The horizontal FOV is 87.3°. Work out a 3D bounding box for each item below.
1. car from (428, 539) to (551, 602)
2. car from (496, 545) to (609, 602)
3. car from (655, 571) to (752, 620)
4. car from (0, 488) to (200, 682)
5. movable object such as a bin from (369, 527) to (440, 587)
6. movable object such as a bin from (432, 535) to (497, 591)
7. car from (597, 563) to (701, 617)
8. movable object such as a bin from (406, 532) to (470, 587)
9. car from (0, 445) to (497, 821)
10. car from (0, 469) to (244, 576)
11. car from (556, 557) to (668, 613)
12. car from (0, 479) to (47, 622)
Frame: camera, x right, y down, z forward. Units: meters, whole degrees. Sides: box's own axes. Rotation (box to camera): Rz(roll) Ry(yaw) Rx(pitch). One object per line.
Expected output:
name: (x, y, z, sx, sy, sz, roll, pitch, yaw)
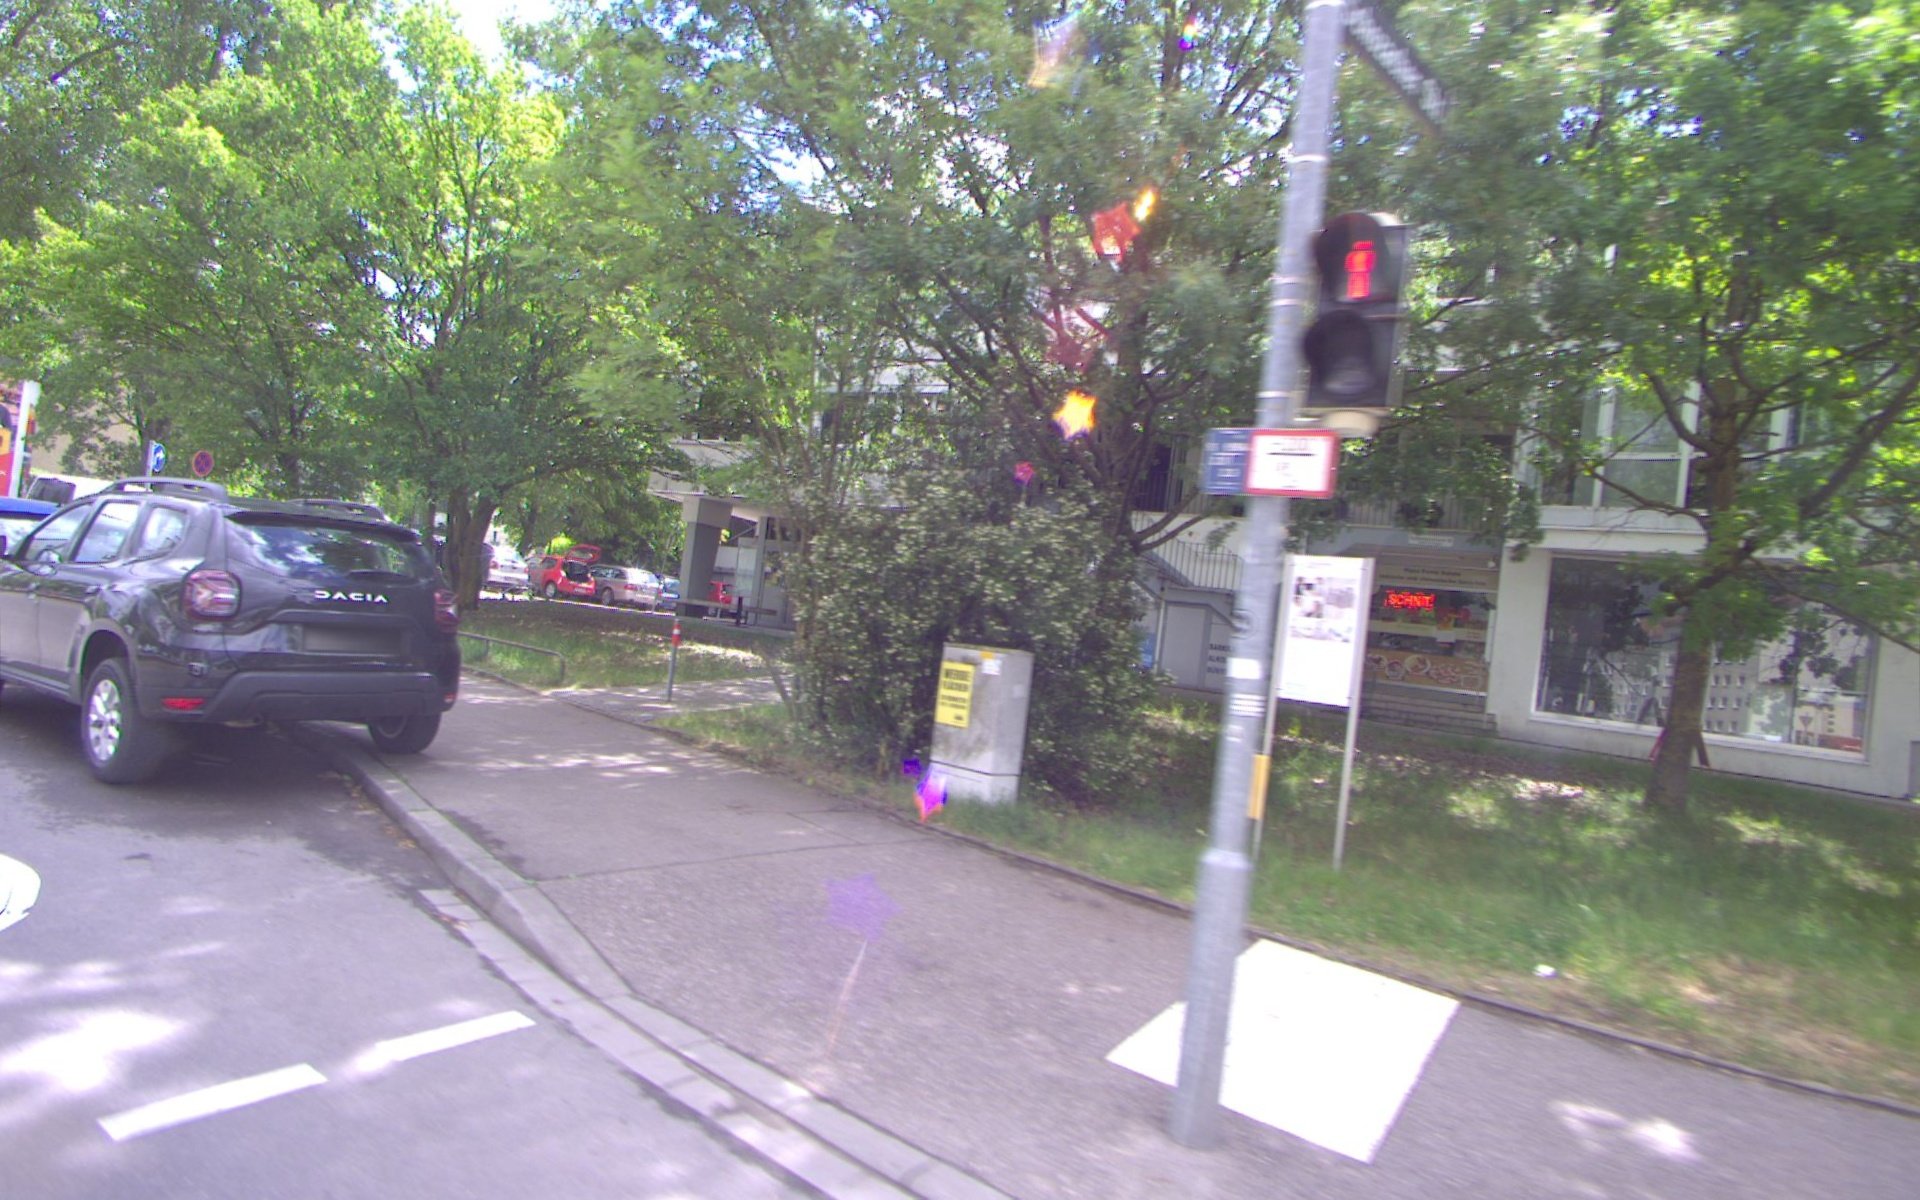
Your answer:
car: (-15.677, -0.988, 33.453, 3.937, 1.508, 1.941, 8, 0, 36)
car: (-14.451, -0.956, 35.616, 3.937, 1.461, 1.744, 8, 0, 36)
car: (-11.100, -0.184, 43.432, 3.935, 1.547, 1.745, 8, 0, 33)
car: (-9.030, -0.292, 9.333, 4.006, 1.476, 1.646, 8, 0, 30)
movable object such as a bin: (-15.445, -1.195, 27.954, 1.264, 1.447, 1.117, 8, 0, 31)
movable object such as a bin: (-14.833, -1.105, 30.130, 1.264, 1.447, 1.117, 8, 0, 31)
car: (-12.425, -0.410, 40.118, 3.935, 1.547, 1.745, 8, 0, 33)
movable object such as a bin: (-15.992, -1.247, 30.828, 1.264, 1.447, 1.117, 8, 0, 31)
car: (-5.364, 0.019, 6.862, 4.493, 1.784, 1.646, 8, 0, 31)
car: (-19.244, -1.696, 23.343, 1.776, 1.845, 4.002, 8, 0, 11)
car: (-12.848, -0.561, 37.126, 3.935, 1.488, 1.745, 8, 0, 33)
car: (-12.930, -0.858, 11.841, 4.491, 1.584, 1.787, 8, 0, 29)
